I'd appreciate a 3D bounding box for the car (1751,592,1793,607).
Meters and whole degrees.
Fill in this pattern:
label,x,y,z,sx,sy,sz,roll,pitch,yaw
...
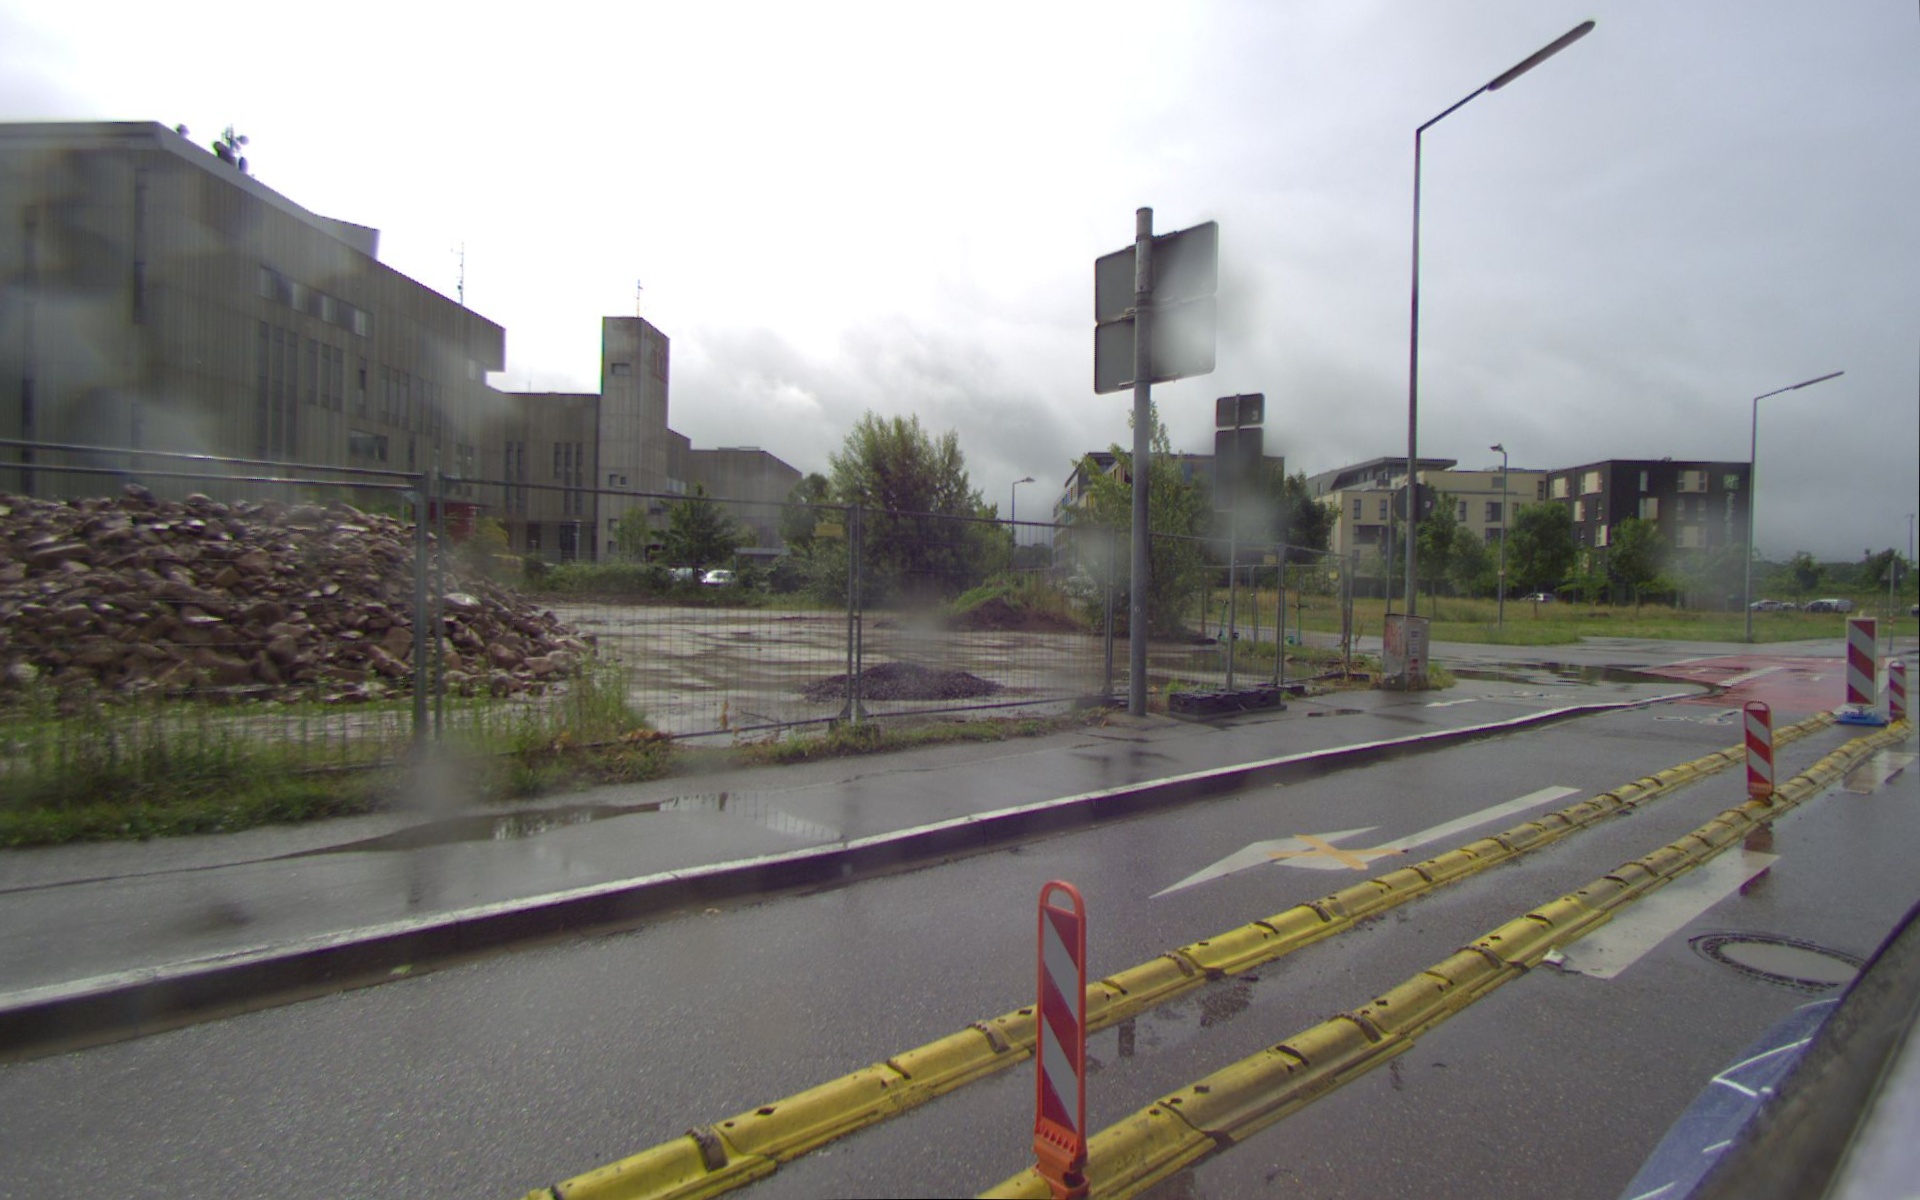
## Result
label,x,y,z,sx,sy,sz,roll,pitch,yaw
car,96.440,-0.086,120.237,3.590,1.631,1.596,1,0,9

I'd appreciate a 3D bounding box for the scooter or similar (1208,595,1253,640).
label,x,y,z,sx,sy,sz,roll,pitch,yaw
scooter or similar,7.381,0.476,27.659,0.731,1.164,1.197,1,1,-8

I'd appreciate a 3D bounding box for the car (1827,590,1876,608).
label,x,y,z,sx,sy,sz,roll,pitch,yaw
car,106.992,-0.101,121.521,3.930,2.039,1.997,1,0,6

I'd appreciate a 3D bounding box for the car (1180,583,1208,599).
label,x,y,z,sx,sy,sz,roll,pitch,yaw
car,23.441,-0.923,101.590,1.615,1.603,3.673,1,1,-6

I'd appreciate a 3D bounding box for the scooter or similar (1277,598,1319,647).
label,x,y,z,sx,sy,sz,roll,pitch,yaw
scooter or similar,8.327,0.538,24.951,0.473,1.164,1.196,1,1,-7

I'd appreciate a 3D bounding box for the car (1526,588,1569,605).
label,x,y,z,sx,sy,sz,roll,pitch,yaw
car,57.786,-0.330,99.554,3.591,1.603,1.652,1,0,-17
